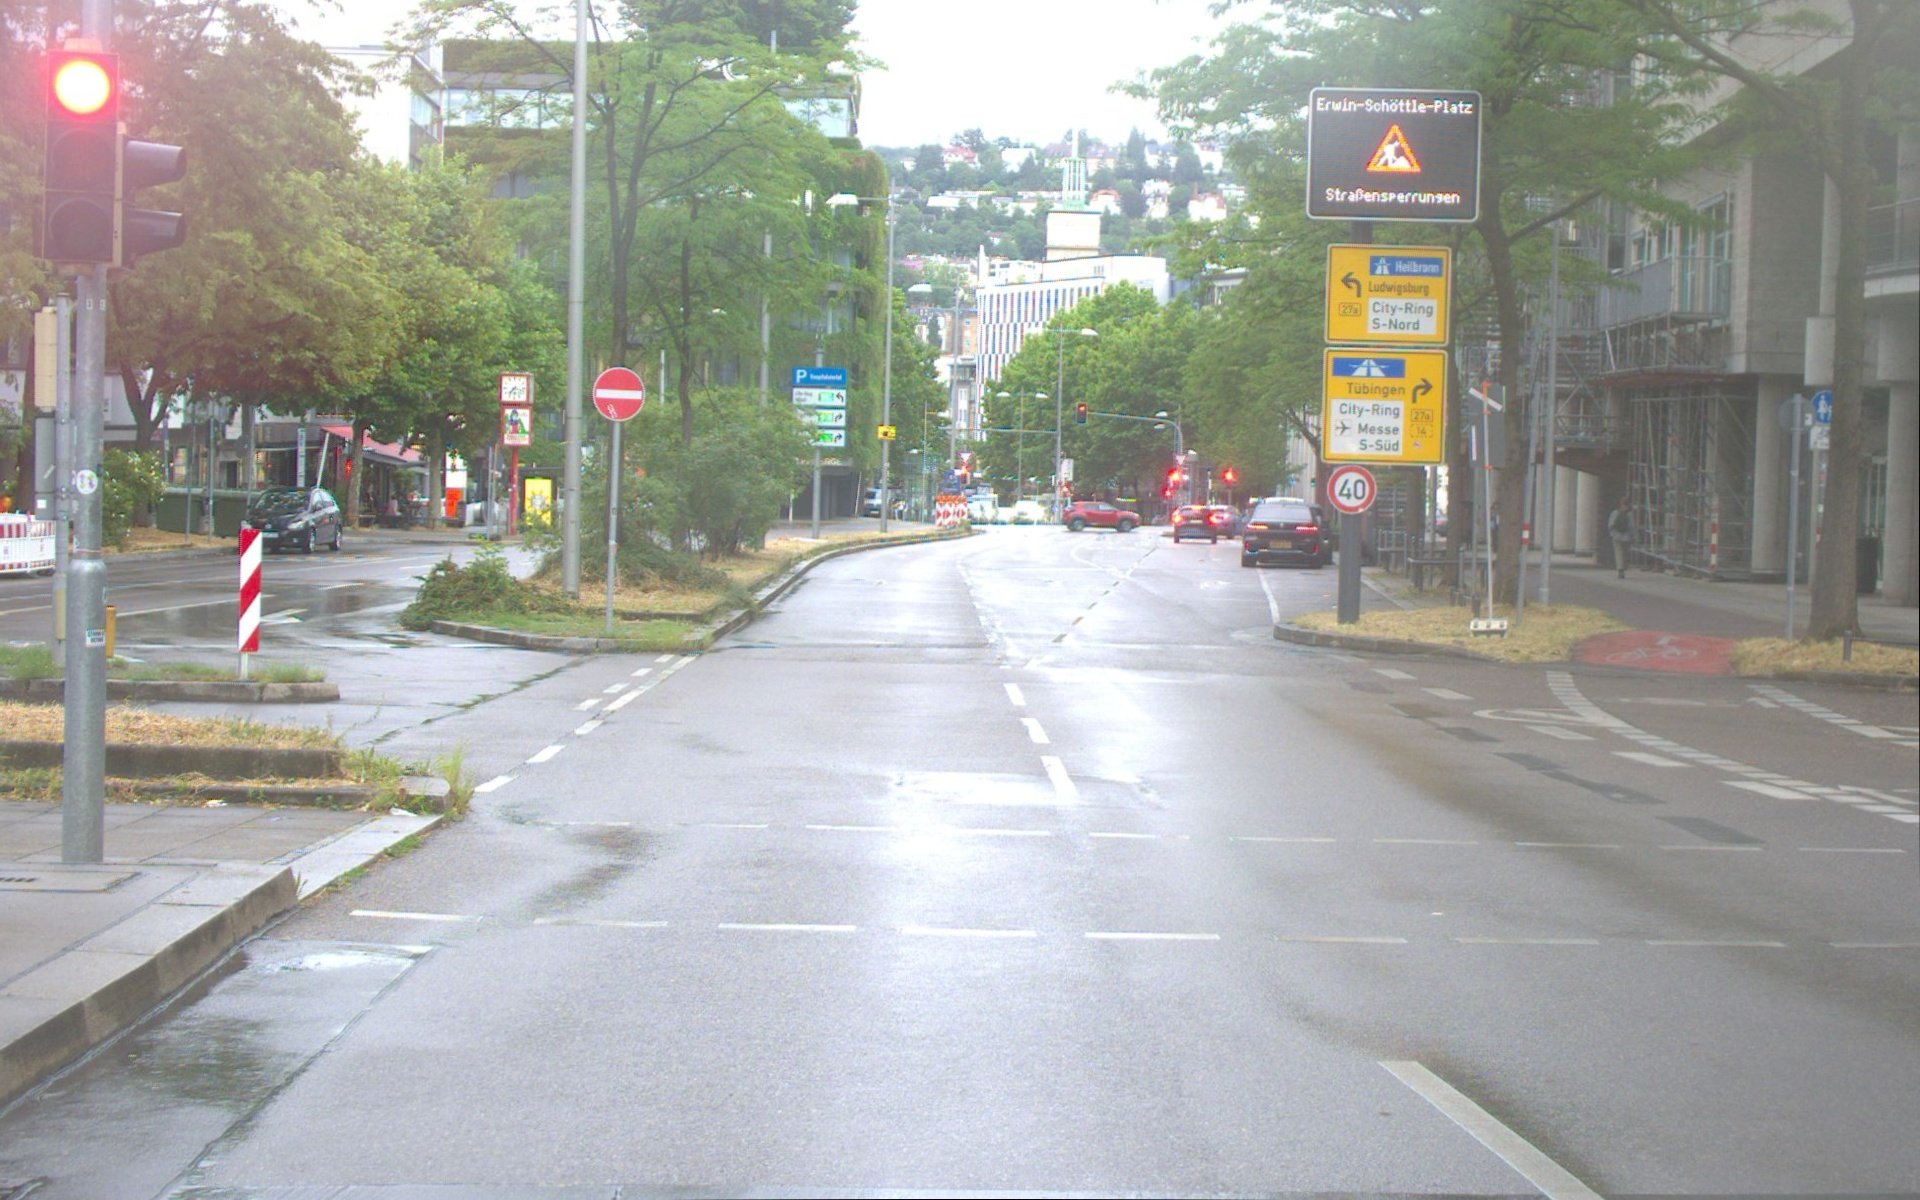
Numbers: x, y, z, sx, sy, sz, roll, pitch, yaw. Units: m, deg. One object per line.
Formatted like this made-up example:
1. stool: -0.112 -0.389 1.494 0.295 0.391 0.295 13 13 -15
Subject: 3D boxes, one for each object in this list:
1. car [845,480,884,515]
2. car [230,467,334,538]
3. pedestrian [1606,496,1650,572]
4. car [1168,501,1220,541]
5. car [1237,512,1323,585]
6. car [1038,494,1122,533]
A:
1. car: -6.205 -6.694 224.406 2.128 2.157 5.197 2 1 2
2. car: -16.462 -2.380 83.629 1.780 1.550 3.894 2 3 -1
3. pedestrian: 13.865 -1.367 71.369 0.786 1.552 0.533 2 1 4
4. car: 9.478 -3.210 139.686 1.746 1.514 4.107 2 1 -1
5. car: 7.775 -1.269 83.874 1.901 1.678 3.910 2 1 4
6. car: 6.298 -4.554 181.034 4.008 1.913 1.886 2 1 -12
